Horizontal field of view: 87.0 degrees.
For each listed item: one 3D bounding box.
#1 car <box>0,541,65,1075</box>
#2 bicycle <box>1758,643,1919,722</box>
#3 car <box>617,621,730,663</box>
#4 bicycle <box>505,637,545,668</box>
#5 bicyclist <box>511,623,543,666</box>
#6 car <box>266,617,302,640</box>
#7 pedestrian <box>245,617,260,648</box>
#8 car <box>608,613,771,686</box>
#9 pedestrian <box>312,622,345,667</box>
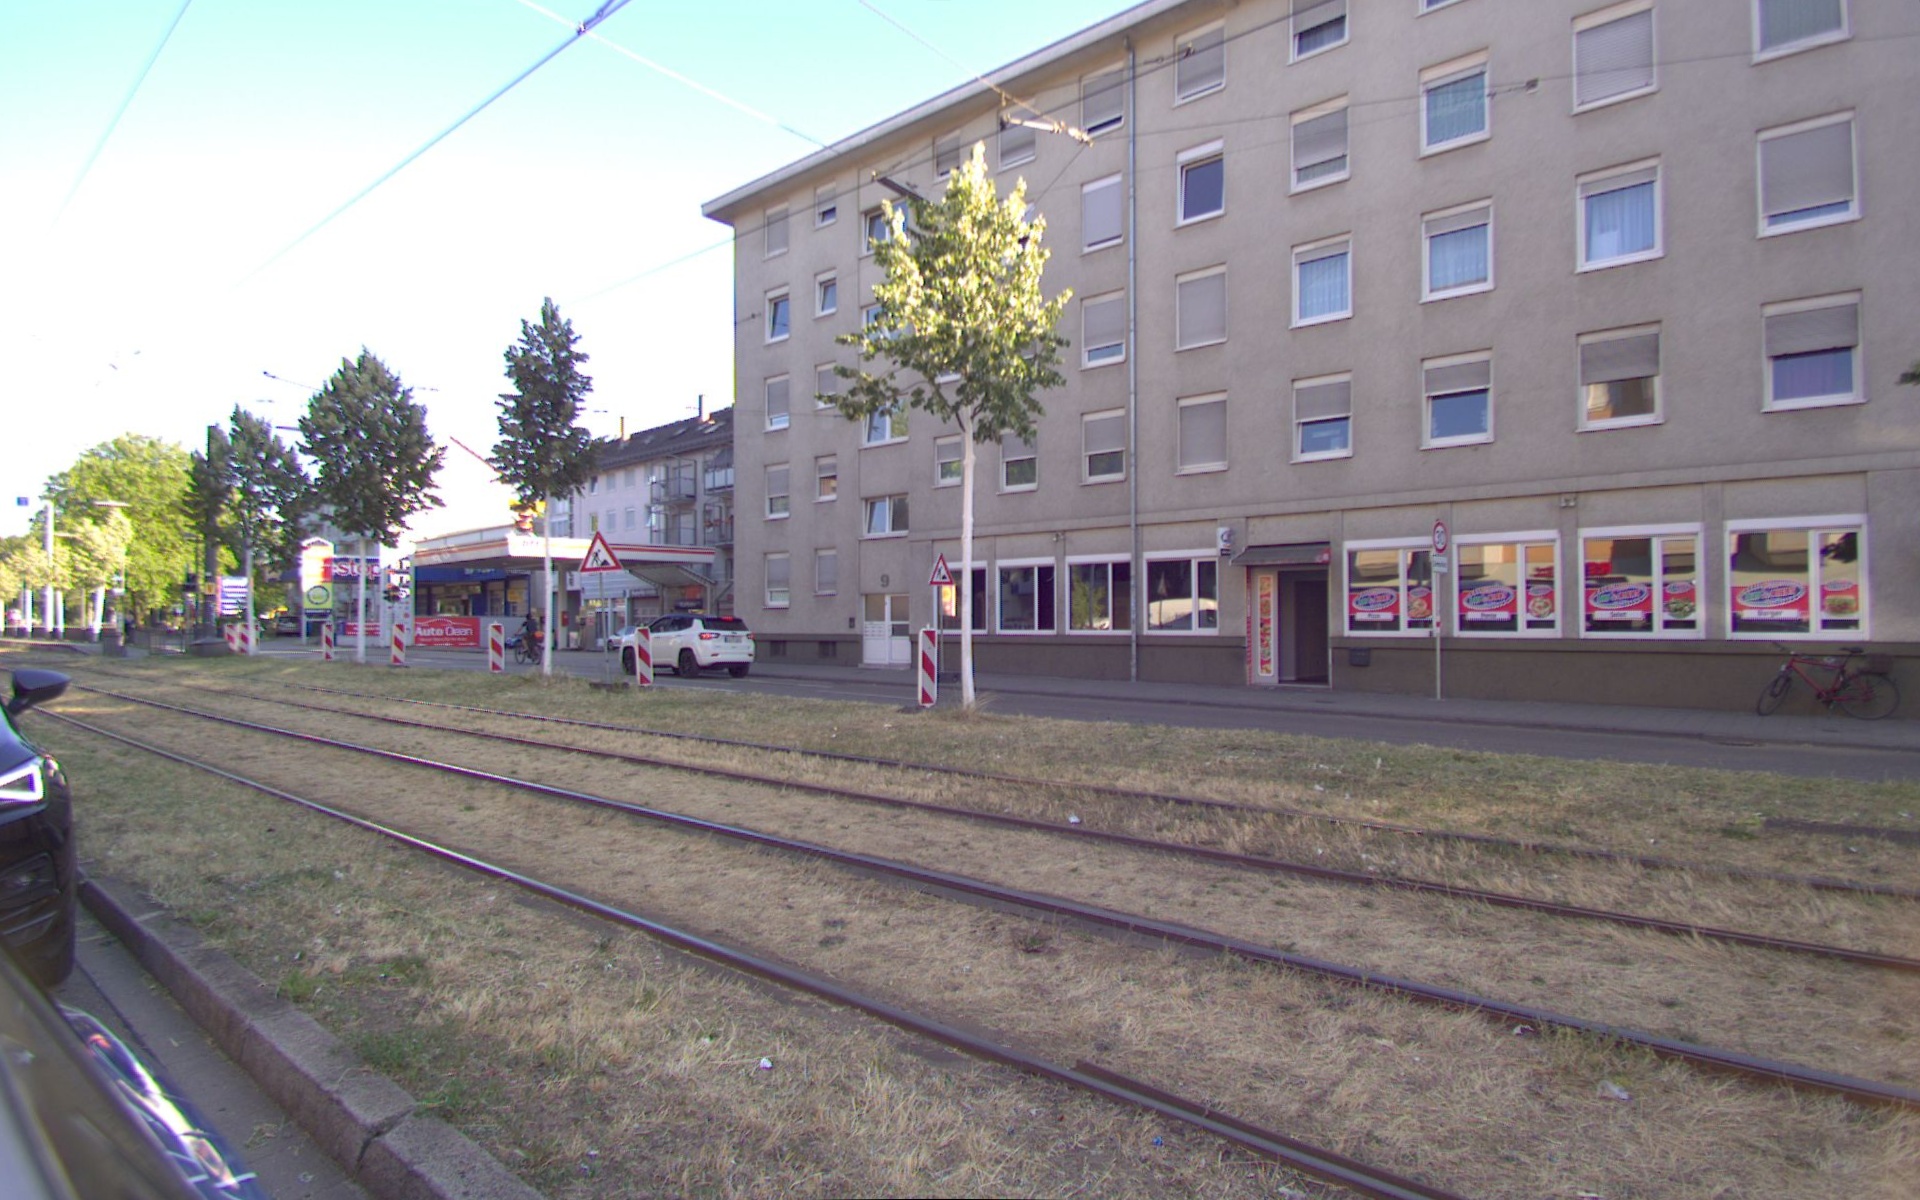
[{"bbox_3d":[-5.015,0.701,3.976,3.998,1.690,1.752,-1,0,41],"label":"car"},{"bbox_3d":[12.820,1.168,14.746,1.844,1.031,0.601,-1,0,41],"label":"bicycle"},{"bbox_3d":[-10.738,1.592,38.100,1.906,1.481,3.680,-4,-4,40],"label":"car"},{"bbox_3d":[-14.970,1.789,34.788,1.859,1.052,0.441,-1,-2,40],"label":"bicycle"},{"bbox_3d":[-14.837,1.528,34.695,0.649,1.457,0.770,-1,-2,40],"label":"bicyclist"},{"bbox_3d":[-49.986,2.072,74.789,1.756,1.567,4.006,-1,0,-40],"label":"car"},{"bbox_3d":[-45.987,2.105,65.785,0.583,2.029,0.623,-2,-2,42],"label":"pedestrian"},{"bbox_3d":[-7.112,1.263,26.433,4.391,1.748,1.973,-1,-3,41],"label":"car"},{"bbox_3d":[-18.255,1.284,29.245,0.581,1.280,0.655,-2,-1,42],"label":"pedestrian"}]
